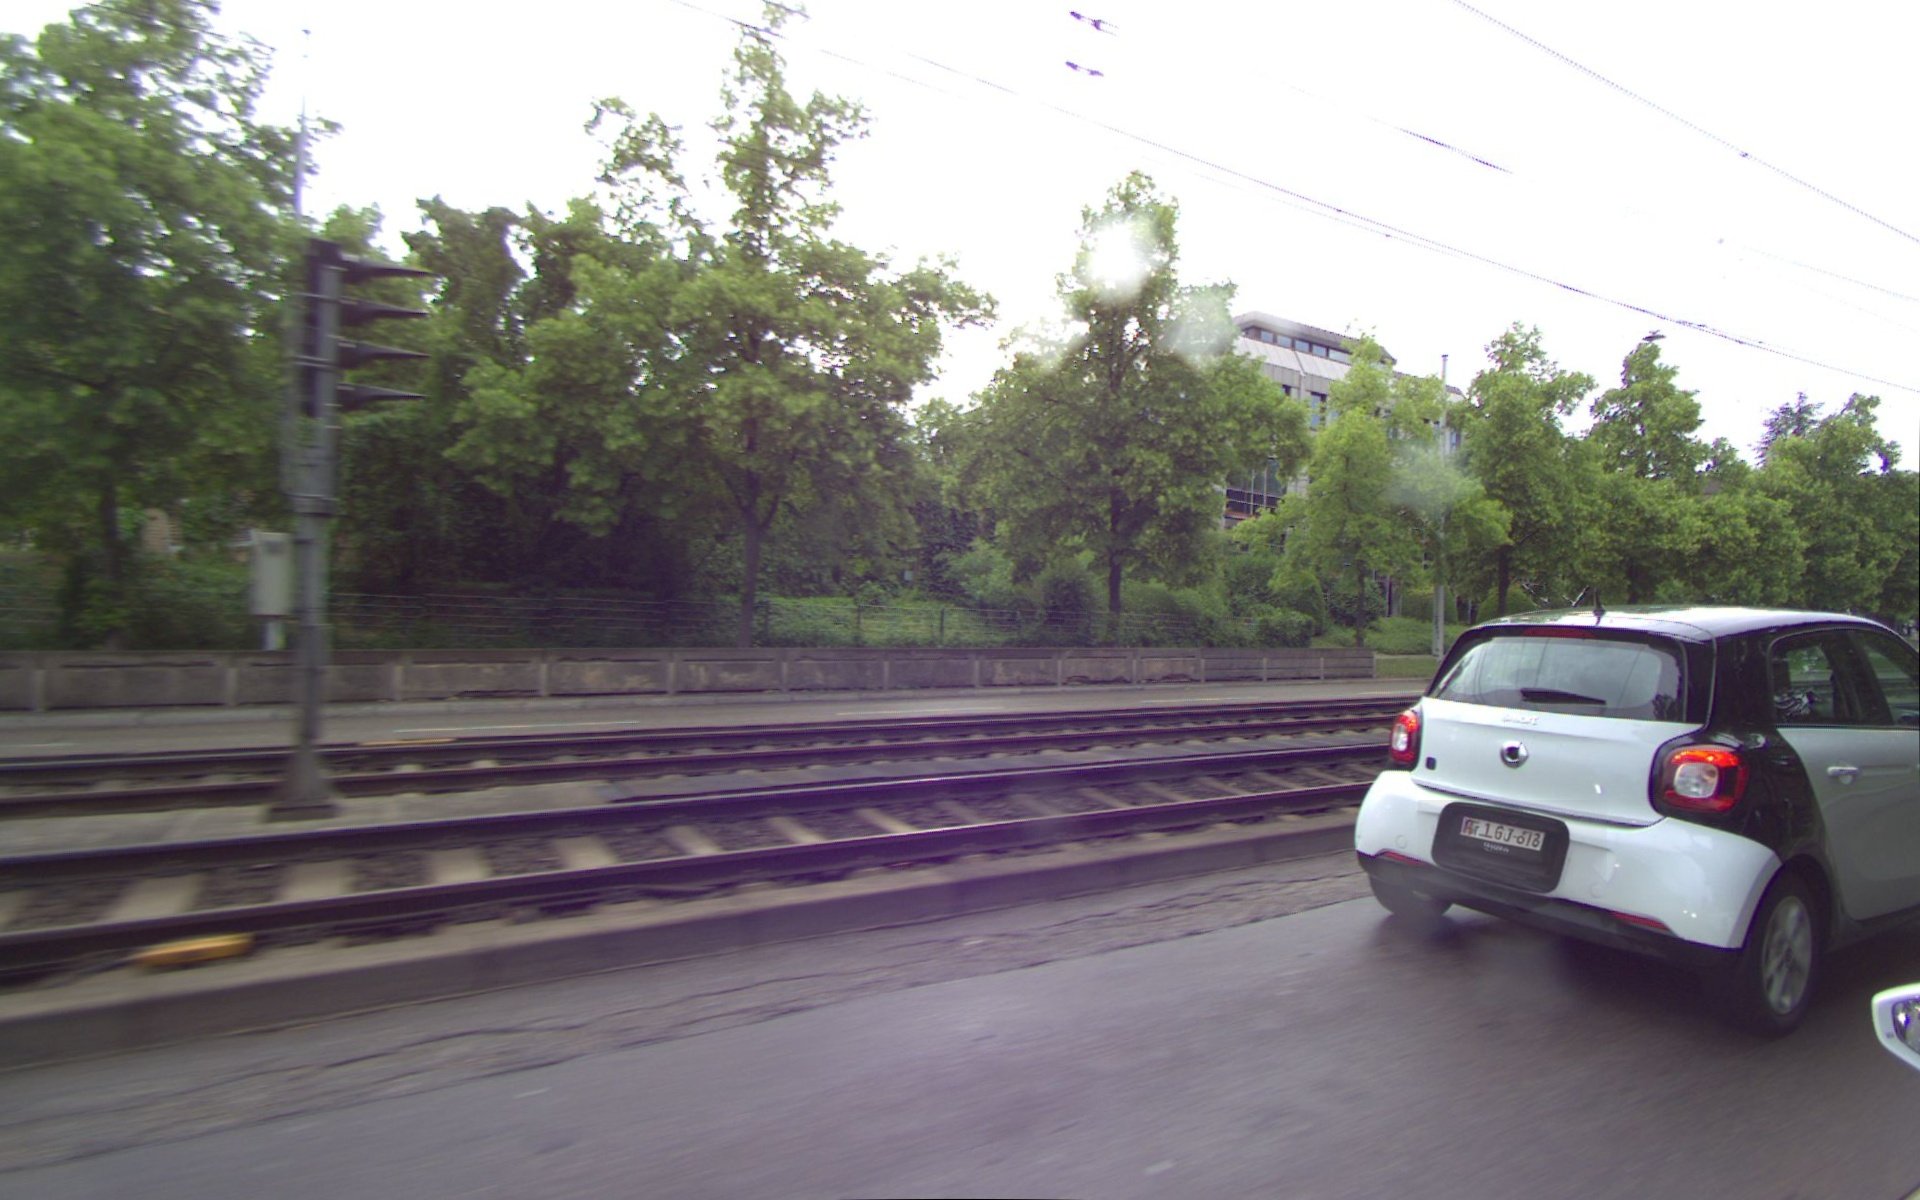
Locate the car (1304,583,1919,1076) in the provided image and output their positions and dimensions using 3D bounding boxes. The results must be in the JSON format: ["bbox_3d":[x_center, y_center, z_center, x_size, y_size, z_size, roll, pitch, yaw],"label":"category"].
[{"bbox_3d":[3.599,0.745,4.823,3.677,1.551,1.668,1,1,-30],"label":"car"}]
